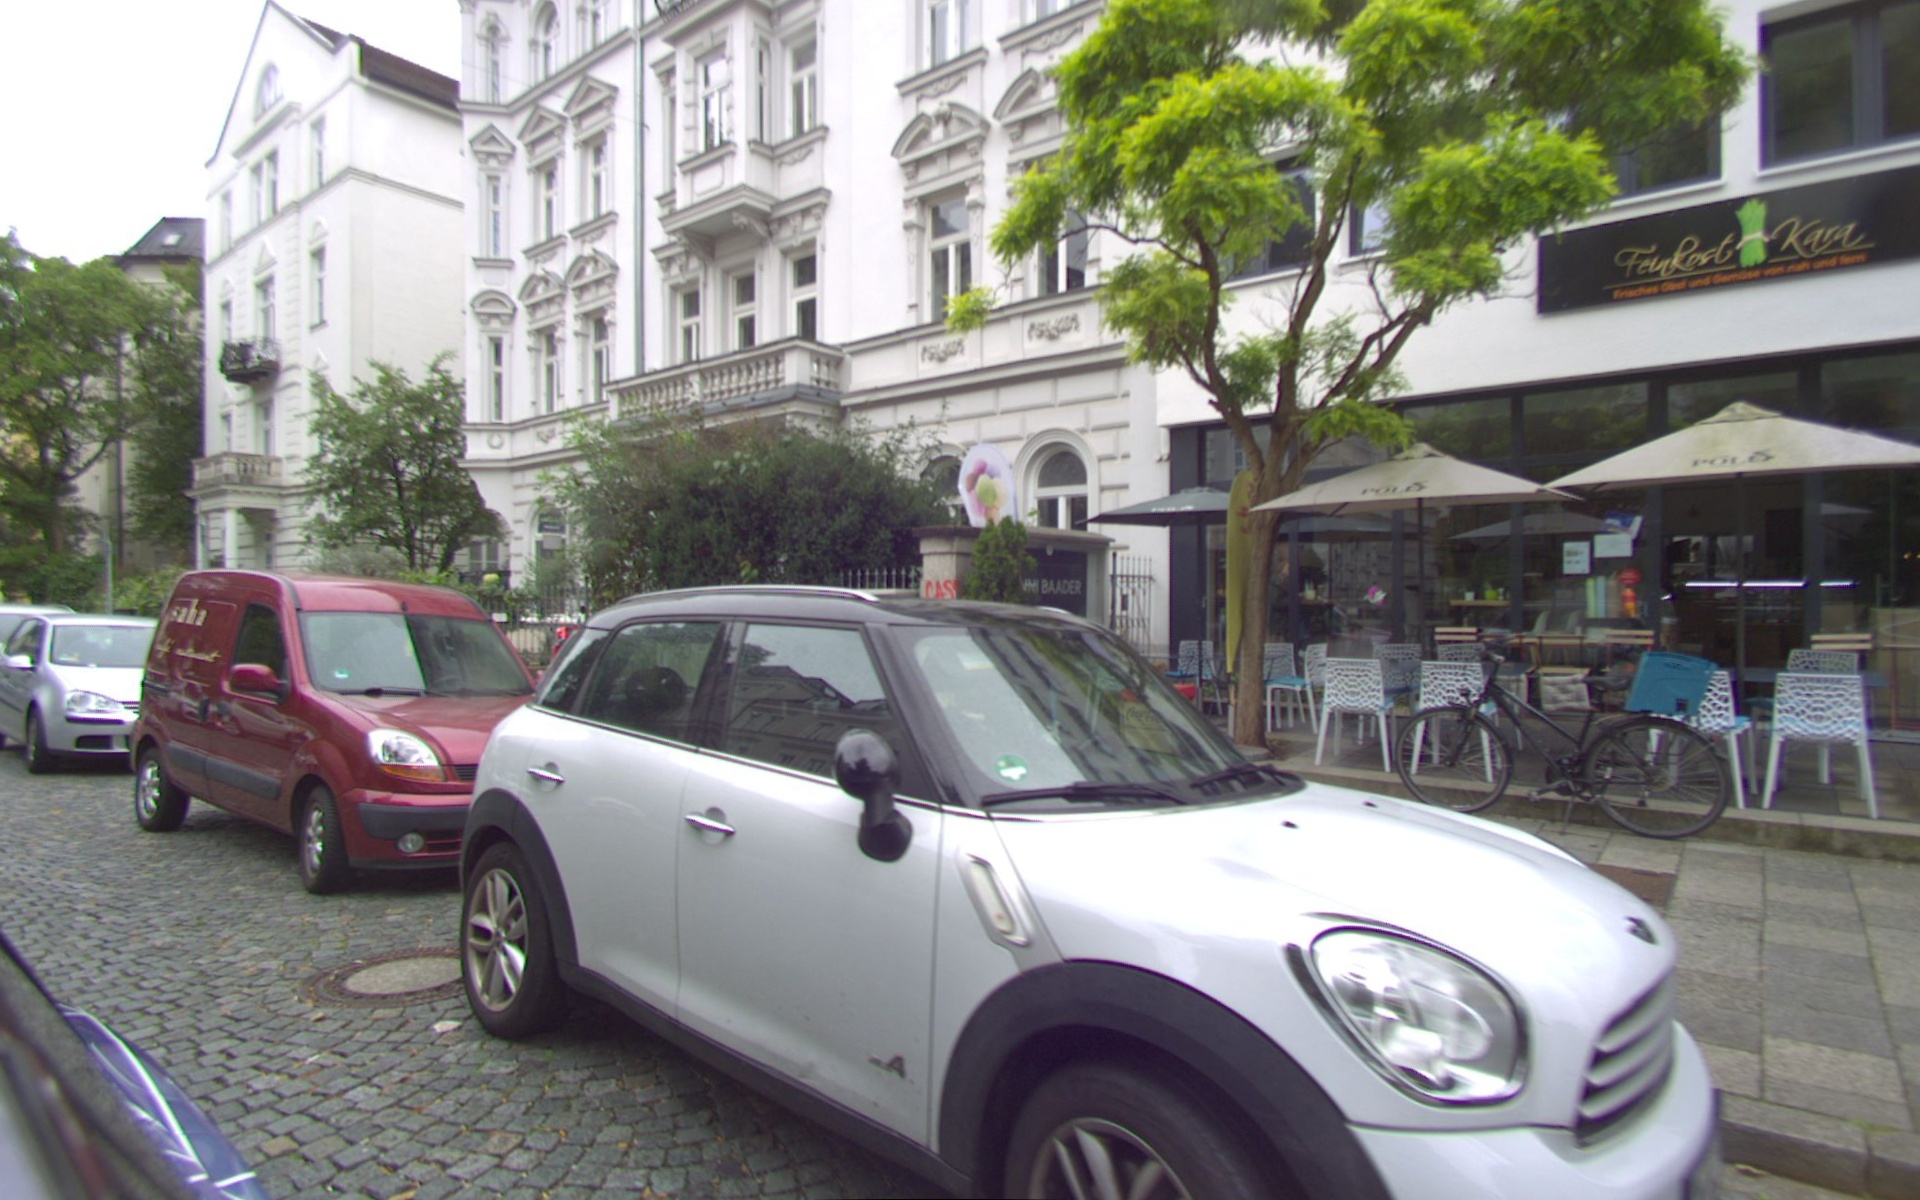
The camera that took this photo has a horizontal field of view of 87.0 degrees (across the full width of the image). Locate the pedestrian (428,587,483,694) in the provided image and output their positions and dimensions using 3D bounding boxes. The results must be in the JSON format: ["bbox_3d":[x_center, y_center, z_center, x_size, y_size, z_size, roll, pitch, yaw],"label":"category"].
[{"bbox_3d":[-8.096,0.631,16.246,0.569,1.659,0.822,0,0,-44],"label":"pedestrian"}]

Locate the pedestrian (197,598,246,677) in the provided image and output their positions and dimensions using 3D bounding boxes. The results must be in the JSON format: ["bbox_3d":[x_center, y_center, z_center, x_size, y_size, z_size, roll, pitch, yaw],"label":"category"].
[{"bbox_3d":[-15.479,0.771,21.224,0.655,1.640,0.671,0,0,-19],"label":"pedestrian"}]

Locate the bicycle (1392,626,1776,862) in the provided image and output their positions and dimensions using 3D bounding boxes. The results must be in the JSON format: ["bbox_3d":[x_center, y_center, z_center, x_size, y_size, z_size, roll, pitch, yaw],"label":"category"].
[{"bbox_3d":[3.608,0.764,6.004,1.910,1.183,0.356,0,0,41],"label":"bicycle"}]

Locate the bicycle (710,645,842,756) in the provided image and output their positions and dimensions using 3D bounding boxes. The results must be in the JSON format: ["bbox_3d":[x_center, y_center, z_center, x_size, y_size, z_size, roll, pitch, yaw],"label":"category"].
[{"bbox_3d":[-1.967,1.030,10.688,1.682,1.086,0.255,-2,-1,35],"label":"bicycle"}]

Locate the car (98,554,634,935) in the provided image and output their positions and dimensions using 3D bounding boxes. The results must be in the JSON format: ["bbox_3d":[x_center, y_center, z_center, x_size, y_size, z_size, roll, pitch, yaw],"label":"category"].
[{"bbox_3d":[-3.974,0.680,6.522,3.894,1.736,1.701,0,-1,39],"label":"car"}]

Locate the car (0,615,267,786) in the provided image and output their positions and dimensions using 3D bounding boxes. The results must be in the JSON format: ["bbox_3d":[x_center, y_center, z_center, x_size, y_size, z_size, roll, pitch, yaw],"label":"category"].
[{"bbox_3d":[-8.788,0.882,10.448,3.810,1.404,1.616,0,0,38],"label":"car"}]

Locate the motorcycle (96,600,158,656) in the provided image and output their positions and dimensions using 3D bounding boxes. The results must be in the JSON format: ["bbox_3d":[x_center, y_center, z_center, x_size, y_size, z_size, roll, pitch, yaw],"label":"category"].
[{"bbox_3d":[-22.260,0.727,27.025,2.241,1.439,0.730,0,1,37],"label":"motorcycle"}]

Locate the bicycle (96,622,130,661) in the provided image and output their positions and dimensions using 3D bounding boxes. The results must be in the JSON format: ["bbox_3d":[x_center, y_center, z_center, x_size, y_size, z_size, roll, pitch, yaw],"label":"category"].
[{"bbox_3d":[-24.161,1.179,28.859,1.741,1.058,0.353,0,0,37],"label":"bicycle"}]

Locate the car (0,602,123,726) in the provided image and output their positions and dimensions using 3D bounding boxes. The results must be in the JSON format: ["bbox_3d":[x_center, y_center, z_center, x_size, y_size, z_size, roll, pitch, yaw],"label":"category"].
[{"bbox_3d":[-13.608,0.832,14.433,4.062,1.584,1.673,0,-2,38],"label":"car"}]

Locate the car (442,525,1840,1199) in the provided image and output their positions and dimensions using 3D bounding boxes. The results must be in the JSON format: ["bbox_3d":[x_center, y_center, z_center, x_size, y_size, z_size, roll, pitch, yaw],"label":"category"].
[{"bbox_3d":[0.096,0.674,2.995,3.776,1.515,1.675,0,0,42],"label":"car"}]

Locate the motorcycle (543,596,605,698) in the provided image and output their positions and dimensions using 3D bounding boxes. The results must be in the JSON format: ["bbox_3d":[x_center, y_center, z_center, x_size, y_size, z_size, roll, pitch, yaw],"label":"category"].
[{"bbox_3d":[-4.816,0.545,12.578,0.326,1.188,1.629,0,0,-35],"label":"motorcycle"}]
